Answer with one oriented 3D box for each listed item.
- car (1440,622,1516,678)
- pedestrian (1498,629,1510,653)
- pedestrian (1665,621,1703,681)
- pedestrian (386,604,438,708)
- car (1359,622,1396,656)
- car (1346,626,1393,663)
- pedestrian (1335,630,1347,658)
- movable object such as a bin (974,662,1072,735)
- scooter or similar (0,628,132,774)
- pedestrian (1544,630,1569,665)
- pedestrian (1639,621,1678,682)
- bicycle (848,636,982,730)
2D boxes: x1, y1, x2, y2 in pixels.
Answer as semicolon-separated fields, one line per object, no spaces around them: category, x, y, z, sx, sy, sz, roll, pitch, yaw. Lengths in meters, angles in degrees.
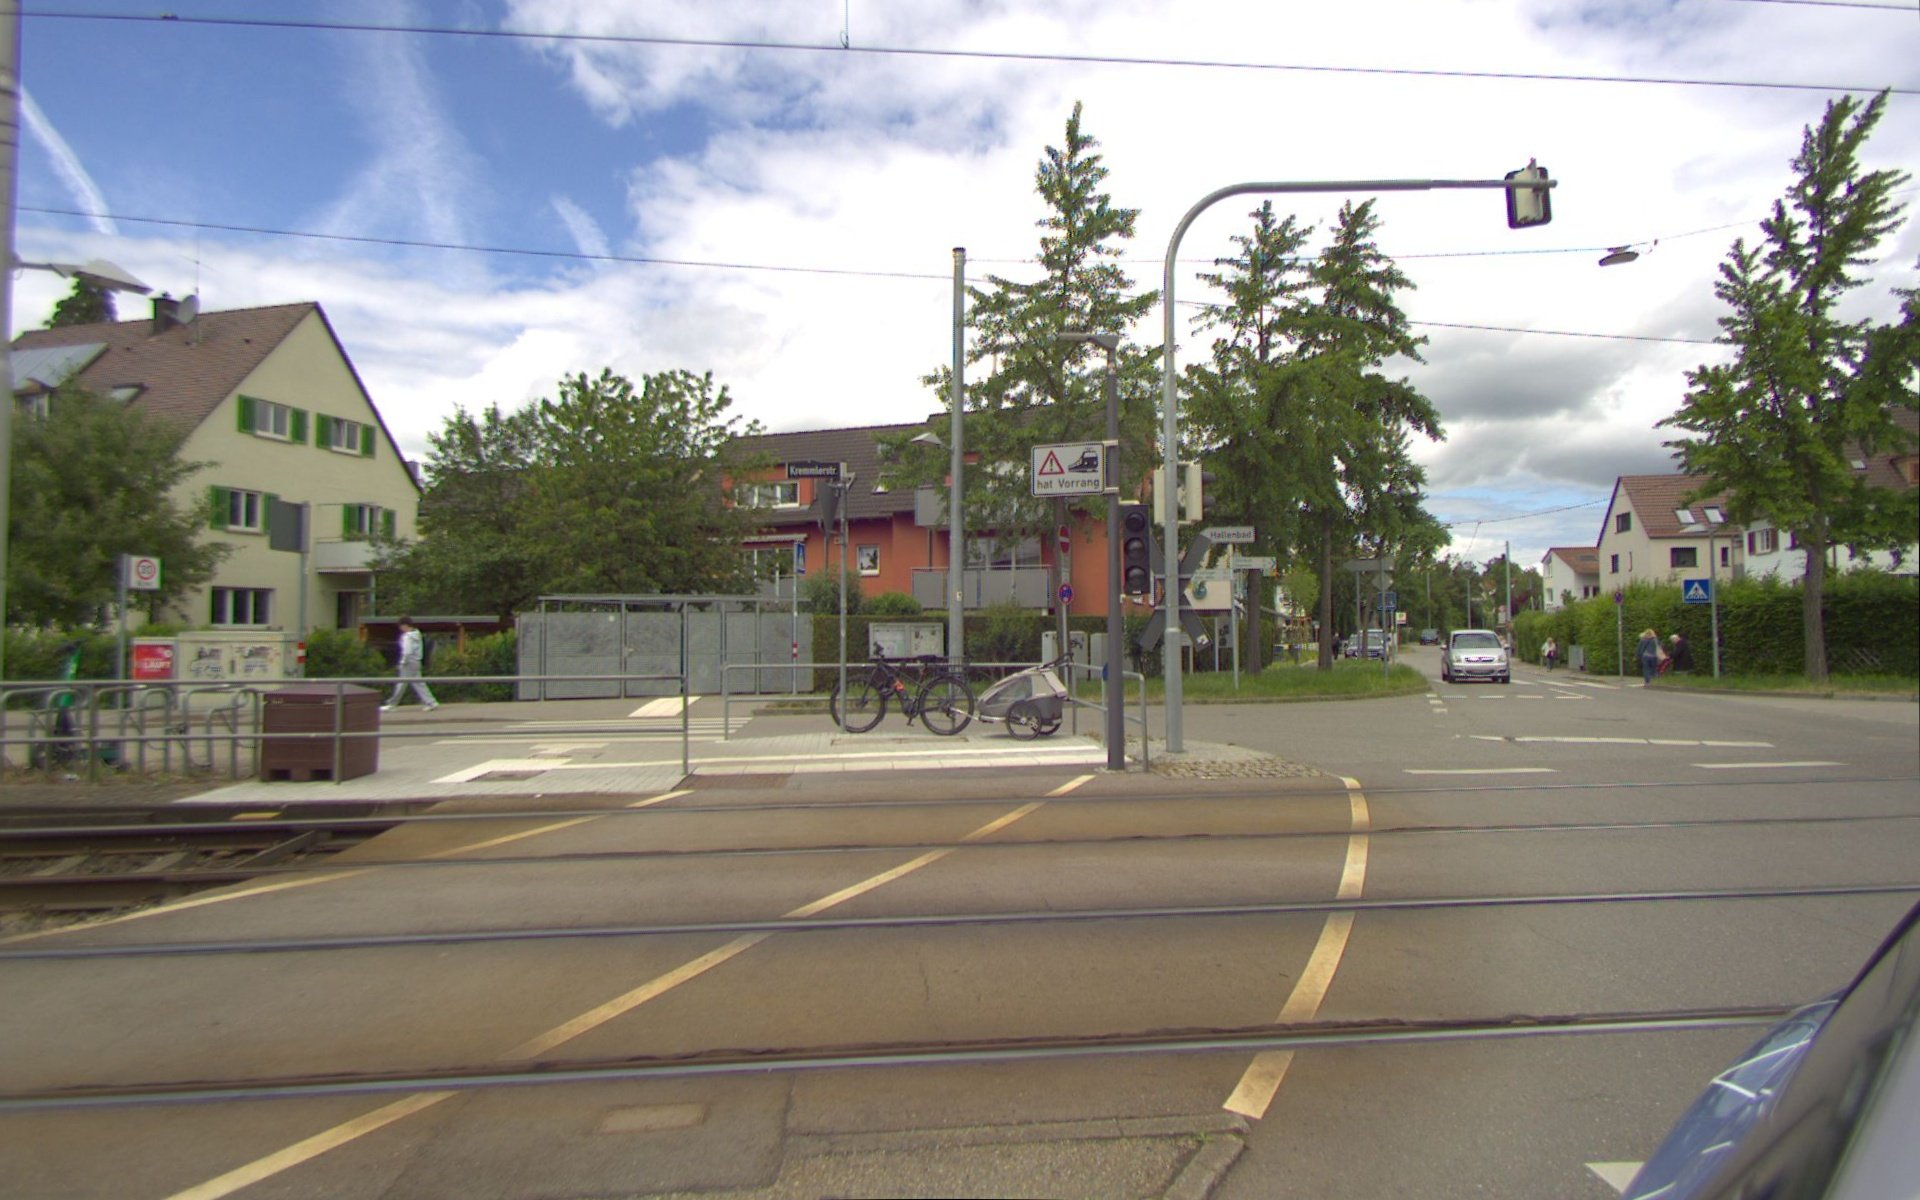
car;15.730;1.483;30.894;1.707;1.588;3.896;-1;-2;22
pedestrian;37.020;2.786;68.849;0.612;1.620;0.604;-1;-3;22
pedestrian;20.506;1.441;28.671;0.665;1.641;0.598;0;-4;-37
pedestrian;-10.552;1.064;19.490;0.814;1.939;0.626;2;-2;-32
car;26.530;2.464;64.430;1.976;2.040;5.524;-3;-3;22
car;19.510;2.112;48.371;1.830;1.658;4.435;-2;-2;20
pedestrian;23.477;2.713;62.352;0.670;1.690;0.654;0;-2;23
movable object such as a bin;0.767;1.177;12.249;1.080;0.835;0.576;-1;-2;18
scooter or similar;-8.724;0.943;9.860;0.480;1.333;1.052;1;-2;-6
pedestrian;26.759;2.119;45.388;0.737;1.551;0.542;-2;-3;10
pedestrian;19.466;1.438;28.205;0.665;1.641;0.598;0;-4;-37
bicycle;-0.580;1.054;13.059;1.668;1.170;0.464;-1;-2;15
